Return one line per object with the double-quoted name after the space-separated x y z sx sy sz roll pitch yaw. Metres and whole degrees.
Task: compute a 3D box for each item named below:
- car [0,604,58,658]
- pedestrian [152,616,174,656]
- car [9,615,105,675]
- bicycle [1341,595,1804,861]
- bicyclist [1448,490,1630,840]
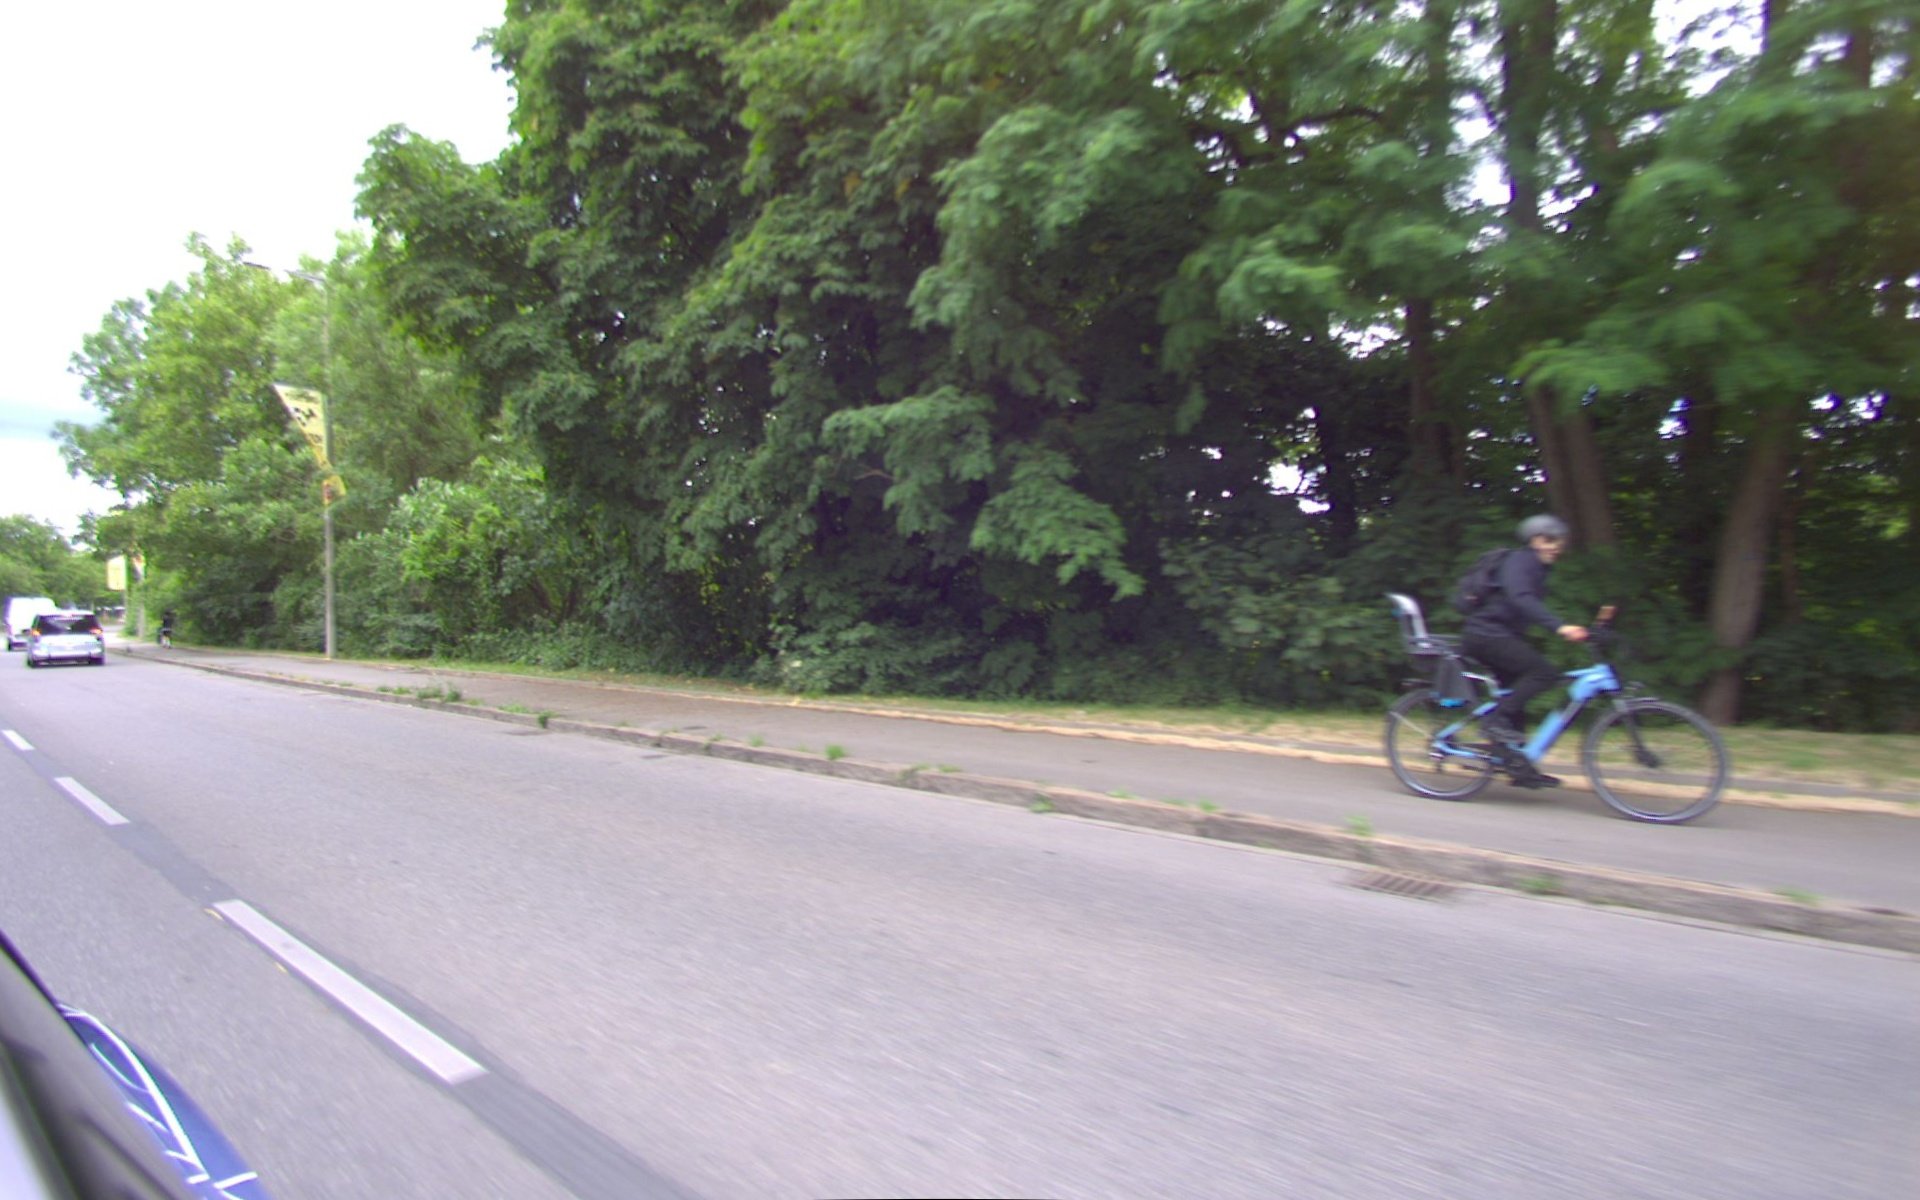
-48.626 1.627 52.709 5.896 2.646 1.971 -2 -3 44 "car"
-35.863 1.610 45.521 0.815 1.727 0.593 -2 0 44 "pedestrian"
-29.493 1.460 33.011 4.555 1.813 1.836 -2 -2 42 "car"
3.599 0.675 6.142 2.277 1.341 0.692 -1 1 38 "bicycle"
3.542 0.364 6.189 0.834 1.962 0.680 -2 0 38 "bicyclist"
